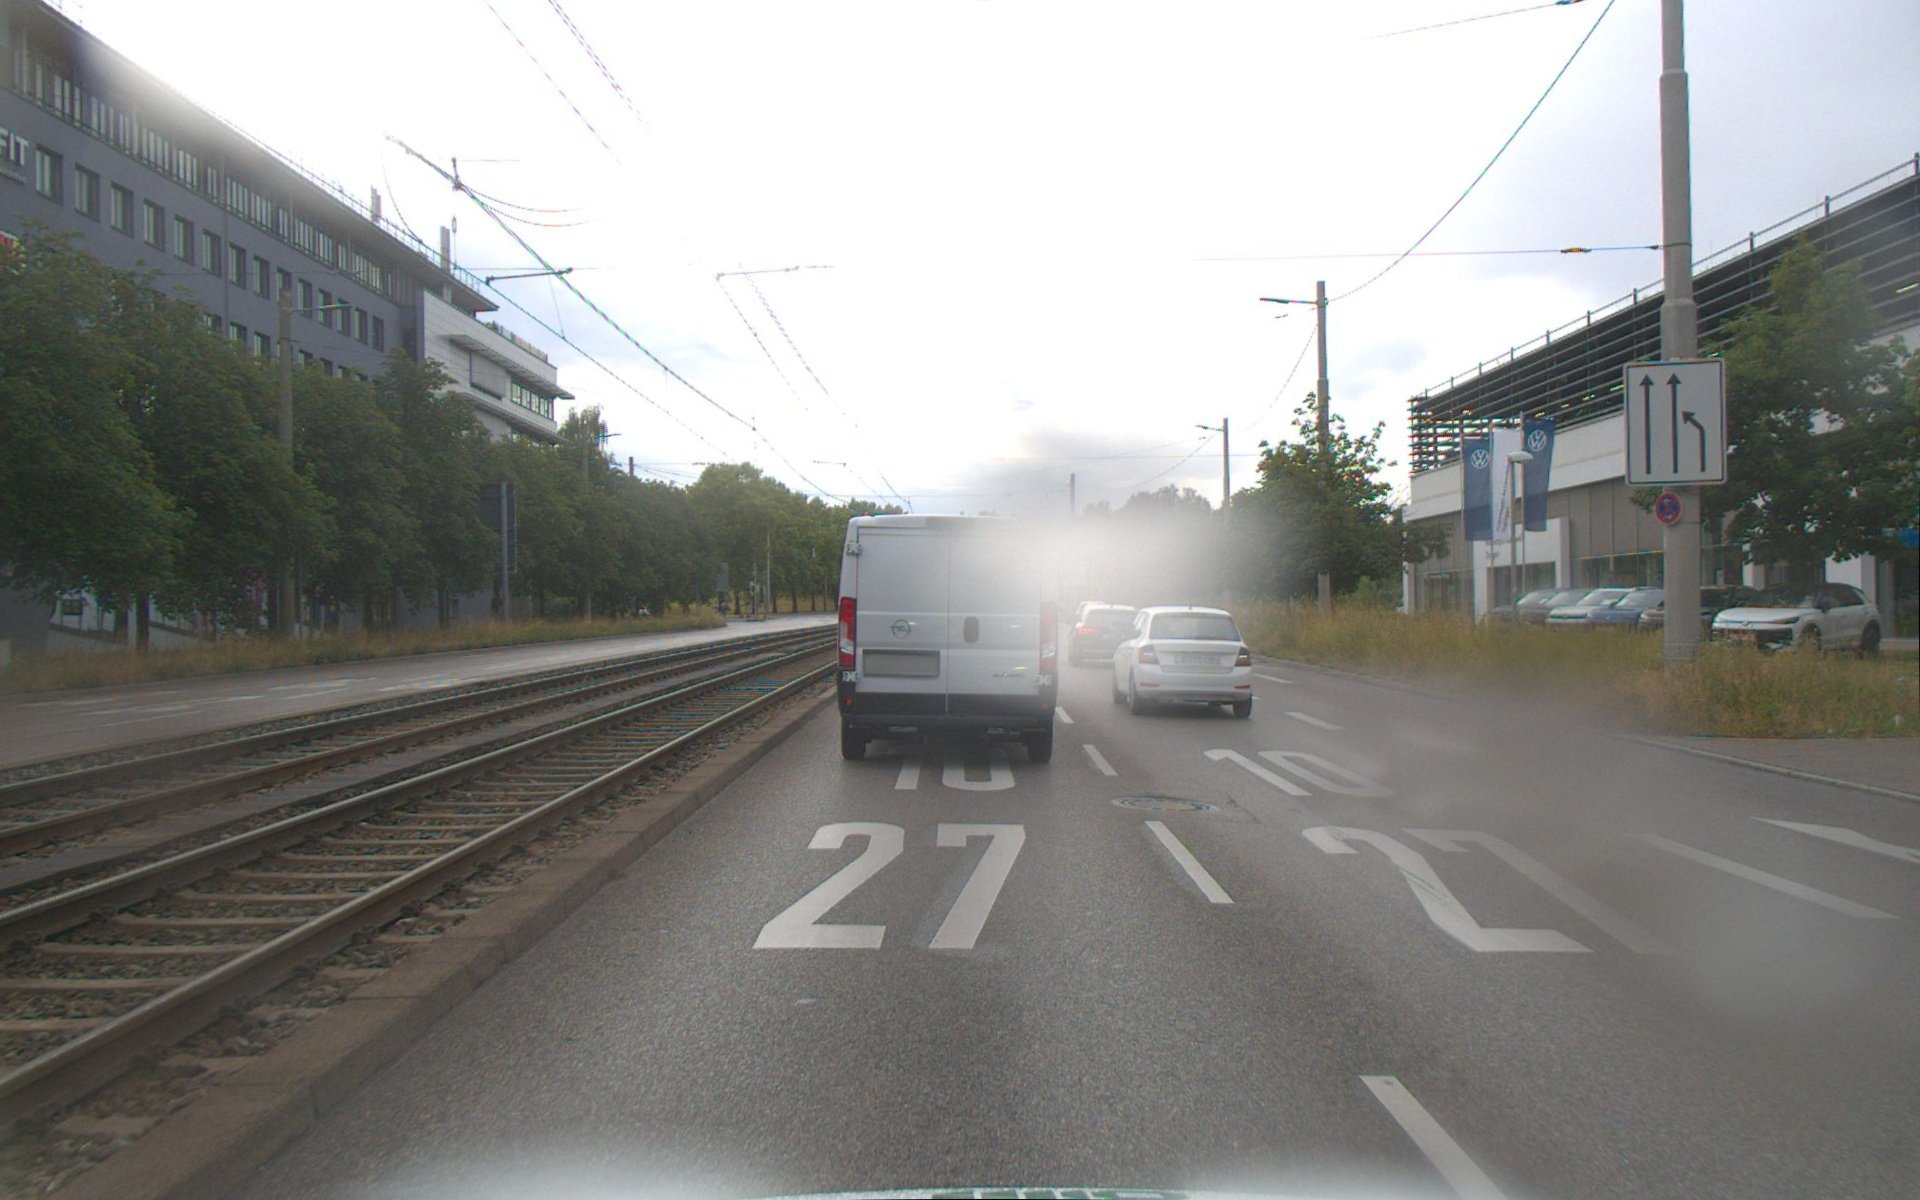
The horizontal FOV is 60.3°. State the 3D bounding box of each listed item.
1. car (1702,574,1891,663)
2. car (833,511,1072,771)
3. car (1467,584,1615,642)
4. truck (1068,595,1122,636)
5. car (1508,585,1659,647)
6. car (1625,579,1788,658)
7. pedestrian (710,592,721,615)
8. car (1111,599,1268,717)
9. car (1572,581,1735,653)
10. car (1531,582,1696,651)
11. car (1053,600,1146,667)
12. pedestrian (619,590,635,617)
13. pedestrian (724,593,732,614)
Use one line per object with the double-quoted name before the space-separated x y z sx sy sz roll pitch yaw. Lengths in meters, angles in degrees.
"car" 16.888 0.364 33.344 4.057 1.596 1.775 -2 -1 -37
"car" -0.088 0.344 17.029 2.048 2.235 5.060 1 0 -1
"car" 18.243 0.387 51.887 4.563 1.596 1.833 -2 -1 -31
"truck" 6.345 0.712 78.150 1.953 1.822 4.412 -1 0 -2
"car" 18.082 0.456 47.915 4.318 1.596 1.780 -2 -1 -32
"car" 16.909 0.395 37.383 4.153 1.596 1.772 -2 -1 -41
"pedestrian" -21.699 0.295 146.900 0.869 2.049 0.865 -1 0 -1
"car" 3.172 0.765 23.523 1.711 1.483 3.671 2 0 0
"car" 17.253 0.405 41.078 4.142 1.596 1.777 -2 -1 -35
"car" 17.630 0.428 44.595 4.296 1.654 1.837 -2 -1 -31
"car" 3.249 0.761 39.230 1.753 1.474 3.998 1 0 -2
"pedestrian" -25.663 0.266 127.457 0.868 2.049 0.946 -1 0 16
"pedestrian" -20.306 0.296 144.643 0.495 1.818 0.832 1 0 6
